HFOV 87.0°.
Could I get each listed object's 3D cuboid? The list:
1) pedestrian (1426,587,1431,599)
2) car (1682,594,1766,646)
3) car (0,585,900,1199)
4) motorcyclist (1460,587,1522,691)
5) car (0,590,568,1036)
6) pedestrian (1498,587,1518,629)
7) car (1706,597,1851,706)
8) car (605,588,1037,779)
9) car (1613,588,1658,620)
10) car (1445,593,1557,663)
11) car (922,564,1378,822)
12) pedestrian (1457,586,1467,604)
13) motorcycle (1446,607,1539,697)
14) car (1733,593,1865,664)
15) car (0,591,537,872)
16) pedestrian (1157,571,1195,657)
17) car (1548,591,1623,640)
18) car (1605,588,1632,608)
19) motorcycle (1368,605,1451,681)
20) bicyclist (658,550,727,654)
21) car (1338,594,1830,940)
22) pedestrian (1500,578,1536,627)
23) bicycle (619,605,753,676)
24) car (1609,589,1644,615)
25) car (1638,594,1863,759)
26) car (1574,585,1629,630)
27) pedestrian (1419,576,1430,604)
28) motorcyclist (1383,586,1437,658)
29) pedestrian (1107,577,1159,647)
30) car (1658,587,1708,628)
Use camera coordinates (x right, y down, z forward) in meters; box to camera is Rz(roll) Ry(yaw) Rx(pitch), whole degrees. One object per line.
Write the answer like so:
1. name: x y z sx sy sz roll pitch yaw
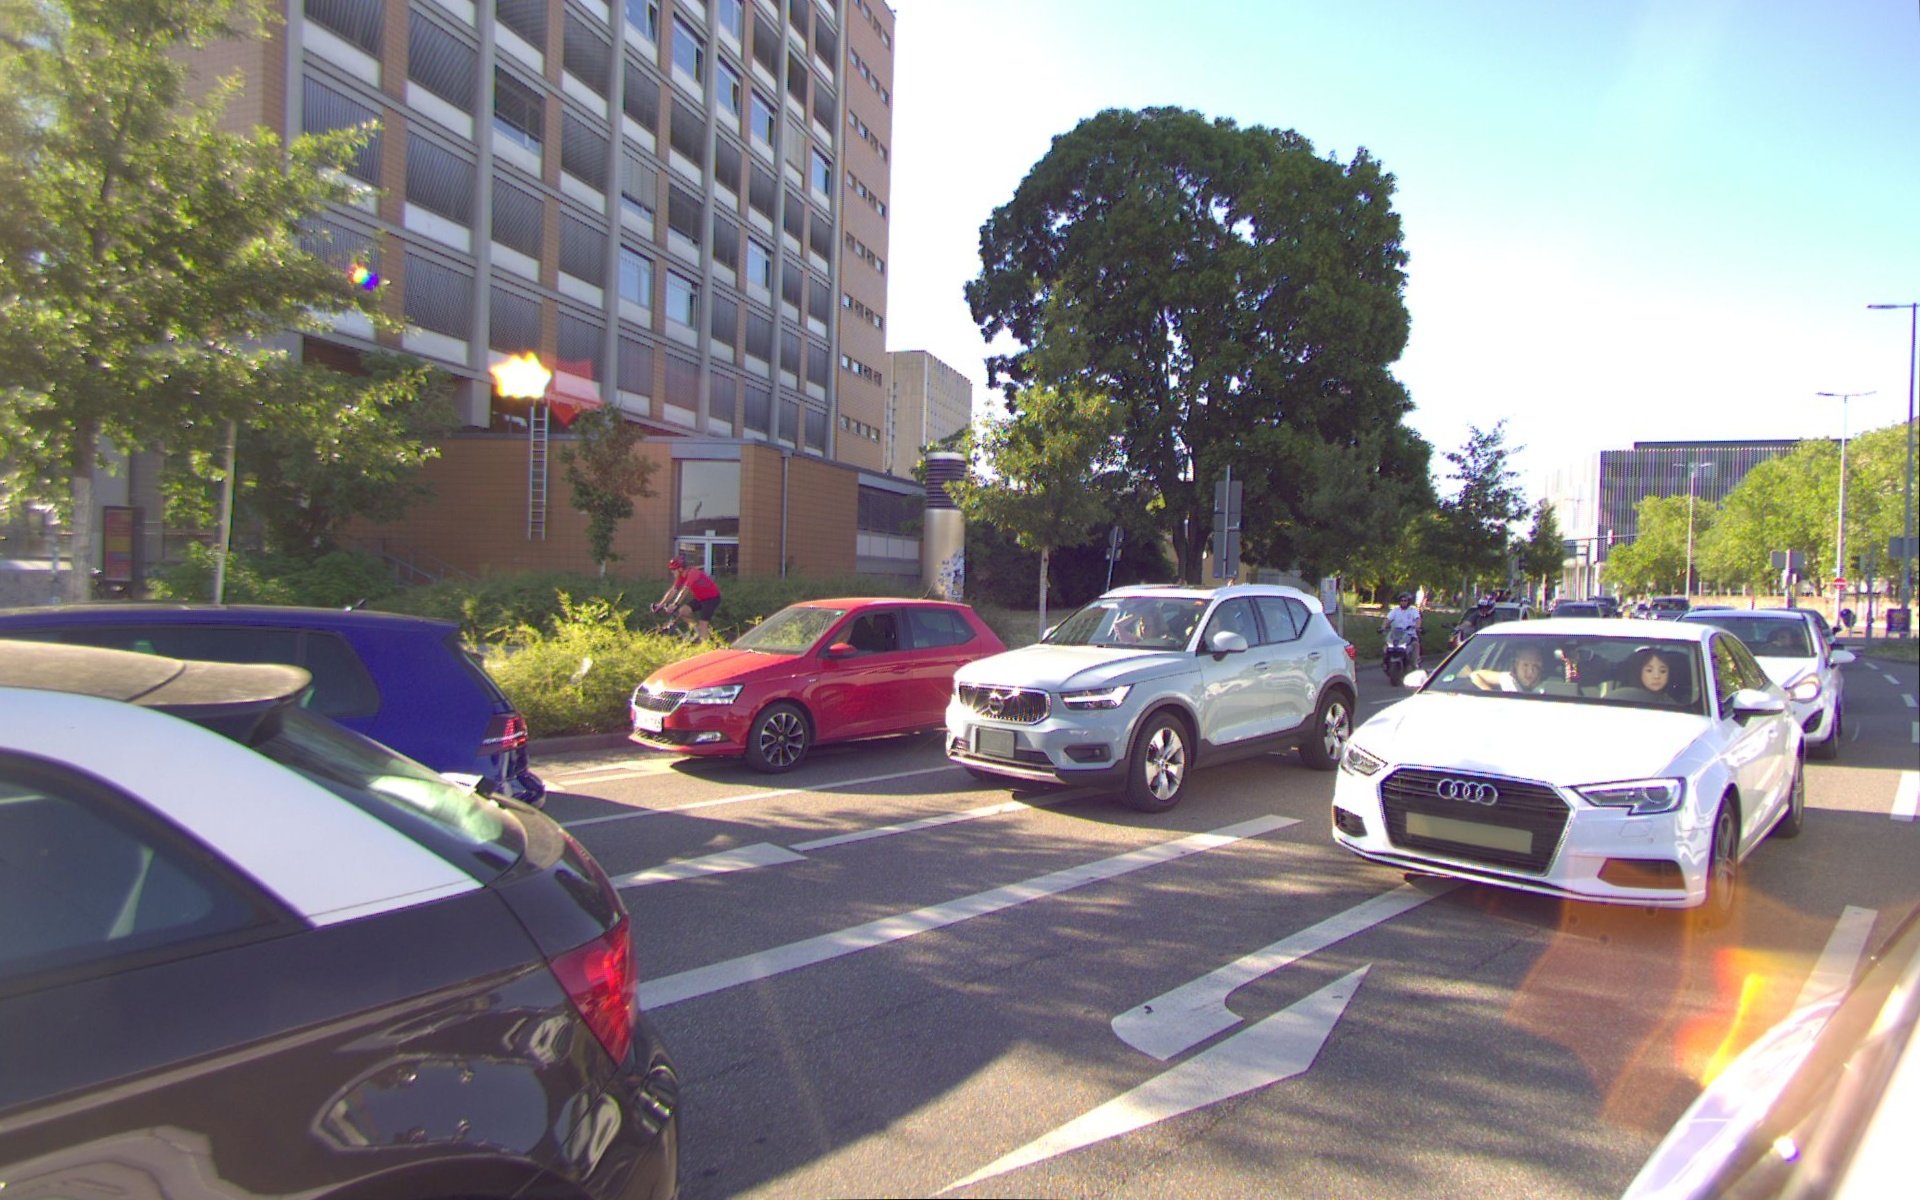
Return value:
1. pedestrian: 61.755 -0.951 133.352 0.477 1.504 0.409 1 1 -41
2. car: 27.891 0.665 37.071 1.730 1.727 3.962 2 1 27
3. car: -2.118 0.701 1.192 3.930 1.422 1.626 -1 0 -41
4. motorcyclist: 8.473 0.604 16.146 0.709 1.610 0.679 0 0 45
5. car: -3.724 0.685 3.761 3.930 1.422 1.626 -1 0 -41
6. pedestrian: 21.137 0.289 39.035 0.593 1.615 0.586 0 0 41
7. car: 13.113 0.710 16.130 1.622 1.478 3.981 0 1 42
8. car: -1.190 0.630 9.854 3.974 1.478 1.625 -1 0 -43
9. car: 38.978 0.196 58.501 1.730 1.727 3.961 2 1 28
10. car: 13.514 0.631 25.179 1.738 1.544 3.943 2 2 39
11. car: 1.775 0.569 8.469 4.153 1.641 1.625 -1 0 -43
12. pedestrian: 56.128 -0.558 113.065 0.828 2.039 1.061 0 0 19
13. motorcycle: 8.552 0.788 16.216 0.716 1.321 2.199 0 0 44
14. car: 20.704 0.633 25.150 1.731 1.564 3.960 2 1 29
15. car: -5.123 0.668 6.128 4.433 1.422 1.726 -1 0 -41
16. pedestrian: 4.869 0.309 22.797 0.681 1.910 0.465 0 0 -24
17. car: 21.844 0.491 35.270 1.738 1.564 3.944 2 1 39
18. car: 62.690 -0.195 96.375 1.863 1.838 3.959 2 1 29
19. motorcycle: 8.491 0.773 19.065 0.716 1.321 2.199 0 0 44
20. bicyclist: -4.185 0.021 15.861 0.615 1.580 0.858 0 0 42
21. car: 3.947 0.690 6.129 3.769 1.422 1.625 -1 0 -43
22. pedestrian: 23.741 0.101 43.059 1.137 2.039 1.268 0 0 39
23. bicycle: -4.240 0.597 15.810 0.657 0.975 2.005 2 2 41
24. car: 49.357 0.133 75.006 1.863 1.838 3.959 2 1 29
25. car: 8.875 0.689 11.235 1.623 1.478 3.979 0 1 43
26. car: 28.780 0.303 45.367 1.867 1.838 3.950 2 1 35
27. pedestrian: 25.784 -0.535 56.181 0.543 1.549 0.598 0 0 30
28. motorcyclist: 8.486 0.398 19.072 0.716 1.321 0.724 0 0 45
29. pedestrian: 4.382 0.287 25.572 1.005 1.742 0.873 0 0 39
30. car: 34.808 0.319 48.797 1.867 1.838 3.950 2 1 35
